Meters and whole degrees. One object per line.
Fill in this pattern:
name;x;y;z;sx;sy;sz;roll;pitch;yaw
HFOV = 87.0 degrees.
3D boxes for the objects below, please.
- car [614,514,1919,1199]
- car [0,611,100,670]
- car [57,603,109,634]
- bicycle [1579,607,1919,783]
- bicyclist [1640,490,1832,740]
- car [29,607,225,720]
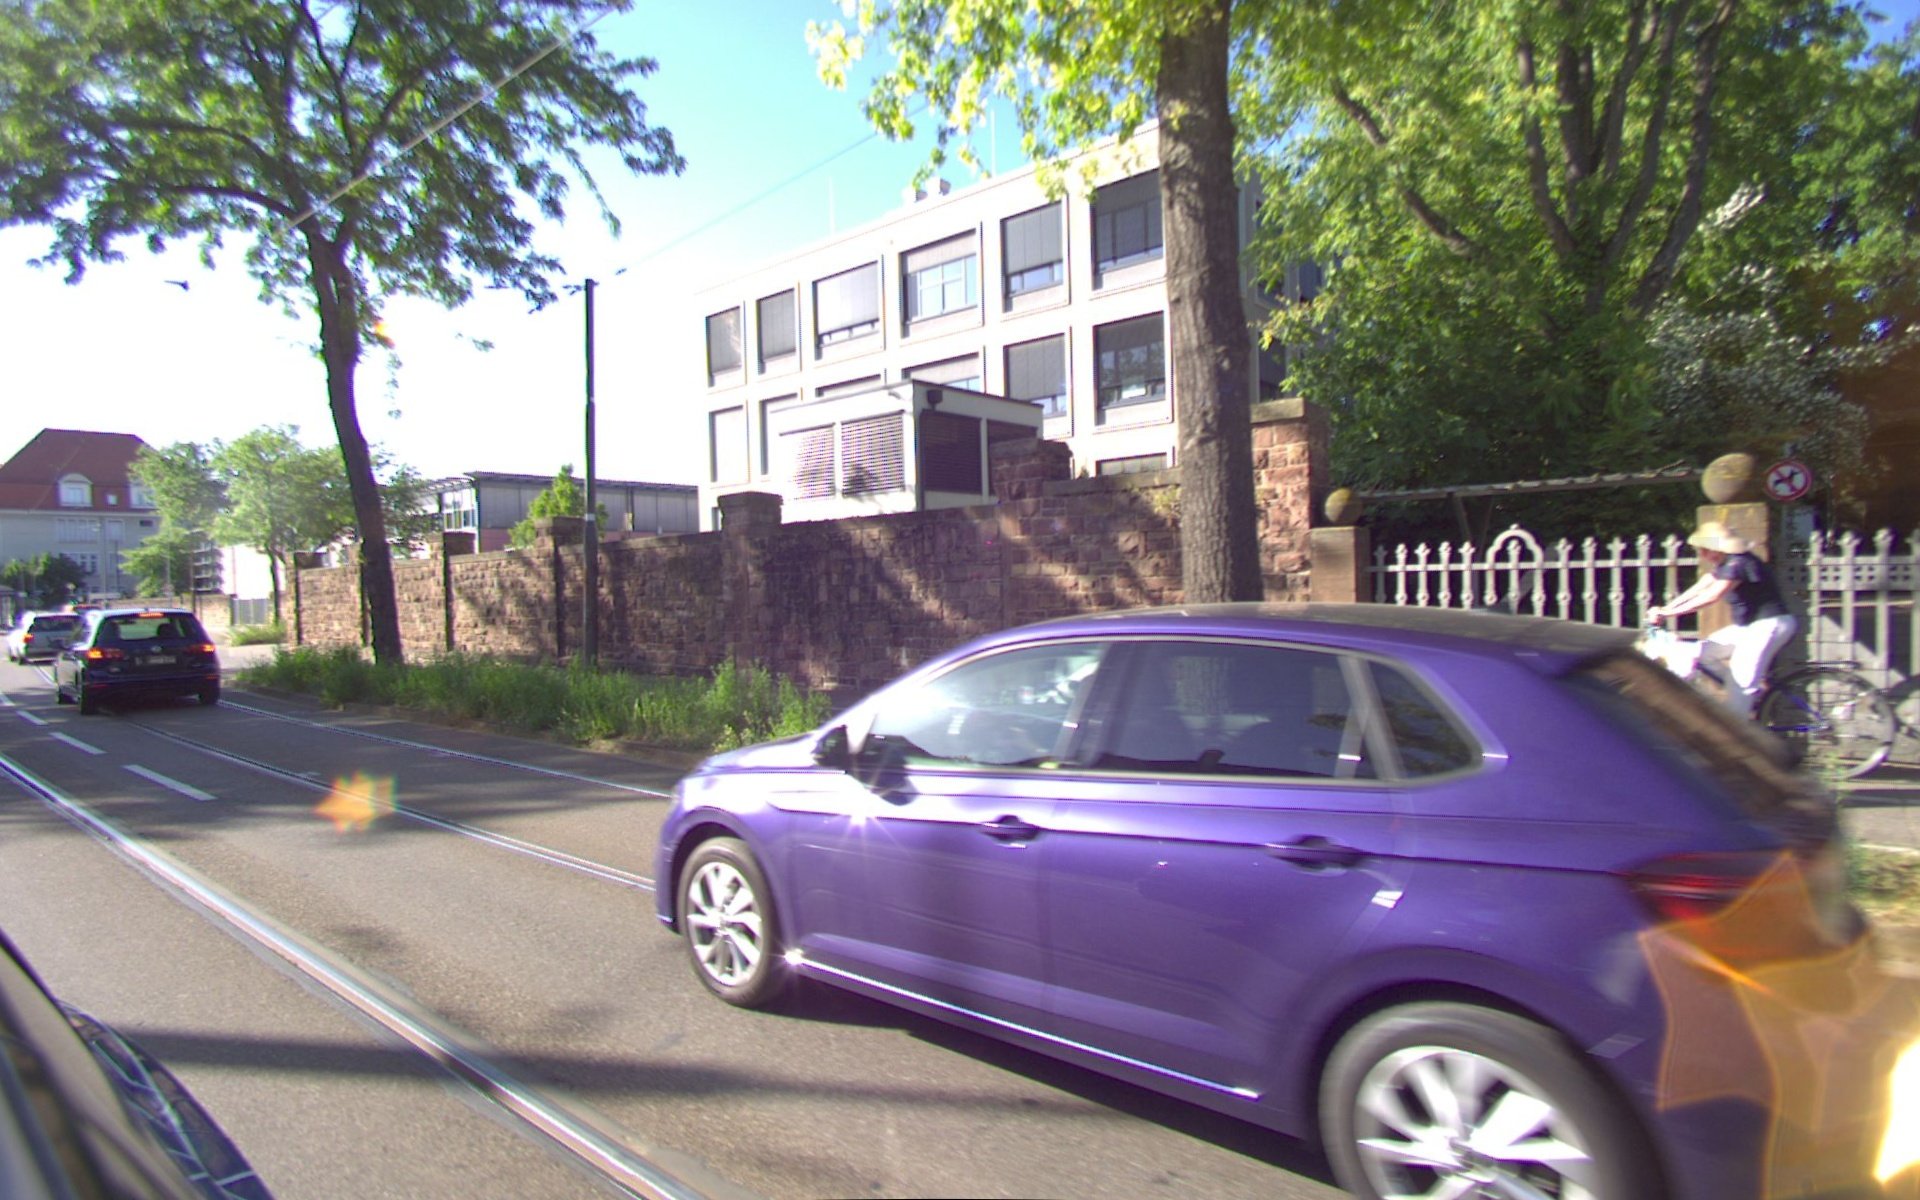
car;0.787;0.630;3.253;4.067;1.535;1.731;-1;1;40
car;-26.810;1.128;29.659;4.581;1.535;1.972;-1;1;44
car;-59.069;1.223;68.159;4.932;1.980;1.973;-1;1;41
bicycle;5.222;0.557;6.639;1.887;0.981;0.711;0;3;41
bicyclist;5.124;0.074;6.691;0.956;1.510;0.702;0;3;41
car;-13.522;0.933;16.359;4.033;1.535;1.731;-1;1;40
